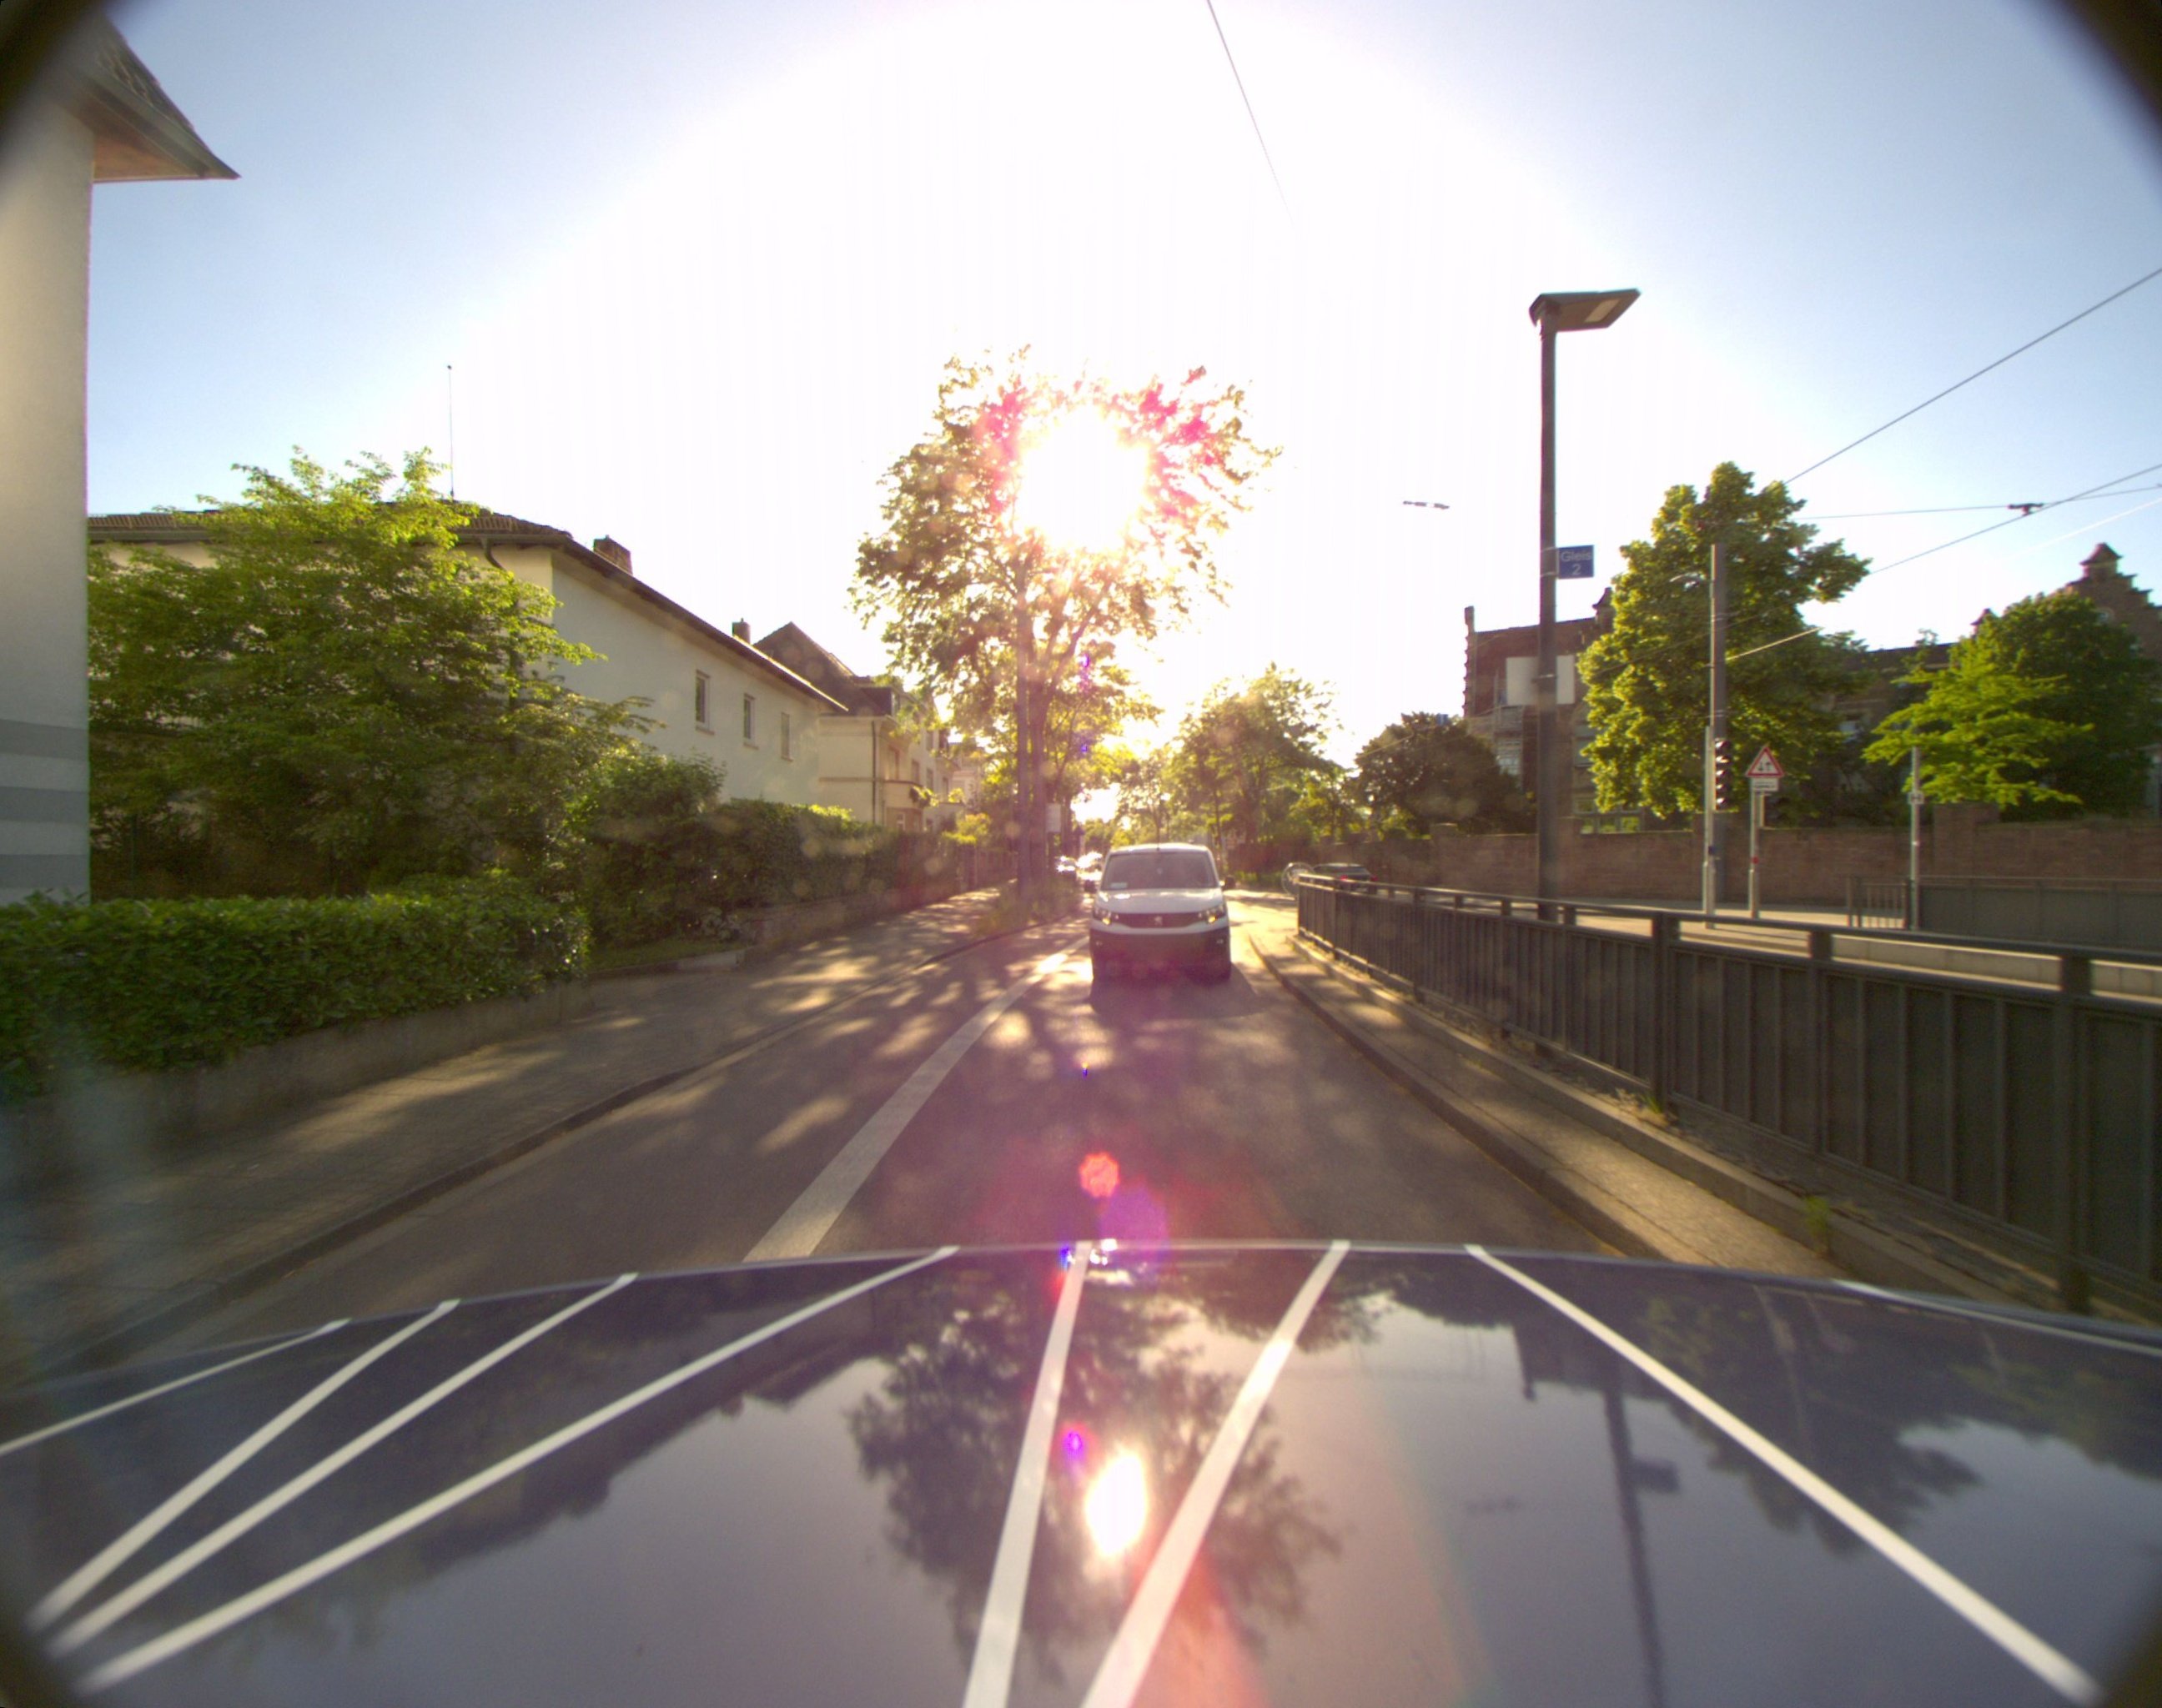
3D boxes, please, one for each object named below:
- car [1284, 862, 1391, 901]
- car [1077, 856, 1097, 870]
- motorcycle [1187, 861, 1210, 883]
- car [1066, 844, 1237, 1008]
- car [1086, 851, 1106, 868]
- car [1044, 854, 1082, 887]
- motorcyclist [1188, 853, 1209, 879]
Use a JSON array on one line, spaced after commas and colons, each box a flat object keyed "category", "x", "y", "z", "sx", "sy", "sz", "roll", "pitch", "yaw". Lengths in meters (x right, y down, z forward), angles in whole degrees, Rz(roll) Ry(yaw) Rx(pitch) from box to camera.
[{"category": "car", "x": 9.783, "y": 1.037, "z": 29.335, "sx": 1.863, "sy": 1.394, "sz": 3.977, "roll": 0, "pitch": -1, "yaw": -20}, {"category": "car", "x": 0.630, "y": 0.884, "z": 77.524, "sx": 1.719, "sy": 1.332, "sz": 3.919, "roll": -1, "pitch": 0, "yaw": 5}, {"category": "motorcycle", "x": 7.165, "y": 1.105, "z": 46.444, "sx": 1.132, "sy": 1.236, "sz": 2.574, "roll": -1, "pitch": 1, "yaw": 4}, {"category": "car", "x": 1.076, "y": 0.790, "z": 10.632, "sx": 1.831, "sy": 1.788, "sz": 4.336, "roll": -2, "pitch": 0, "yaw": 8}, {"category": "car", "x": 1.706, "y": 0.563, "z": 83.851, "sx": 1.903, "sy": 1.818, "sz": 4.249, "roll": -1, "pitch": 1, "yaw": 6}, {"category": "car", "x": -0.986, "y": 0.896, "z": 43.434, "sx": 1.998, "sy": 1.733, "sz": 4.170, "roll": -1, "pitch": 1, "yaw": 1}, {"category": "motorcyclist", "x": 7.151, "y": 0.737, "z": 46.323, "sx": 1.127, "sy": 1.516, "sz": 1.055, "roll": -1, "pitch": 1, "yaw": 4}]
